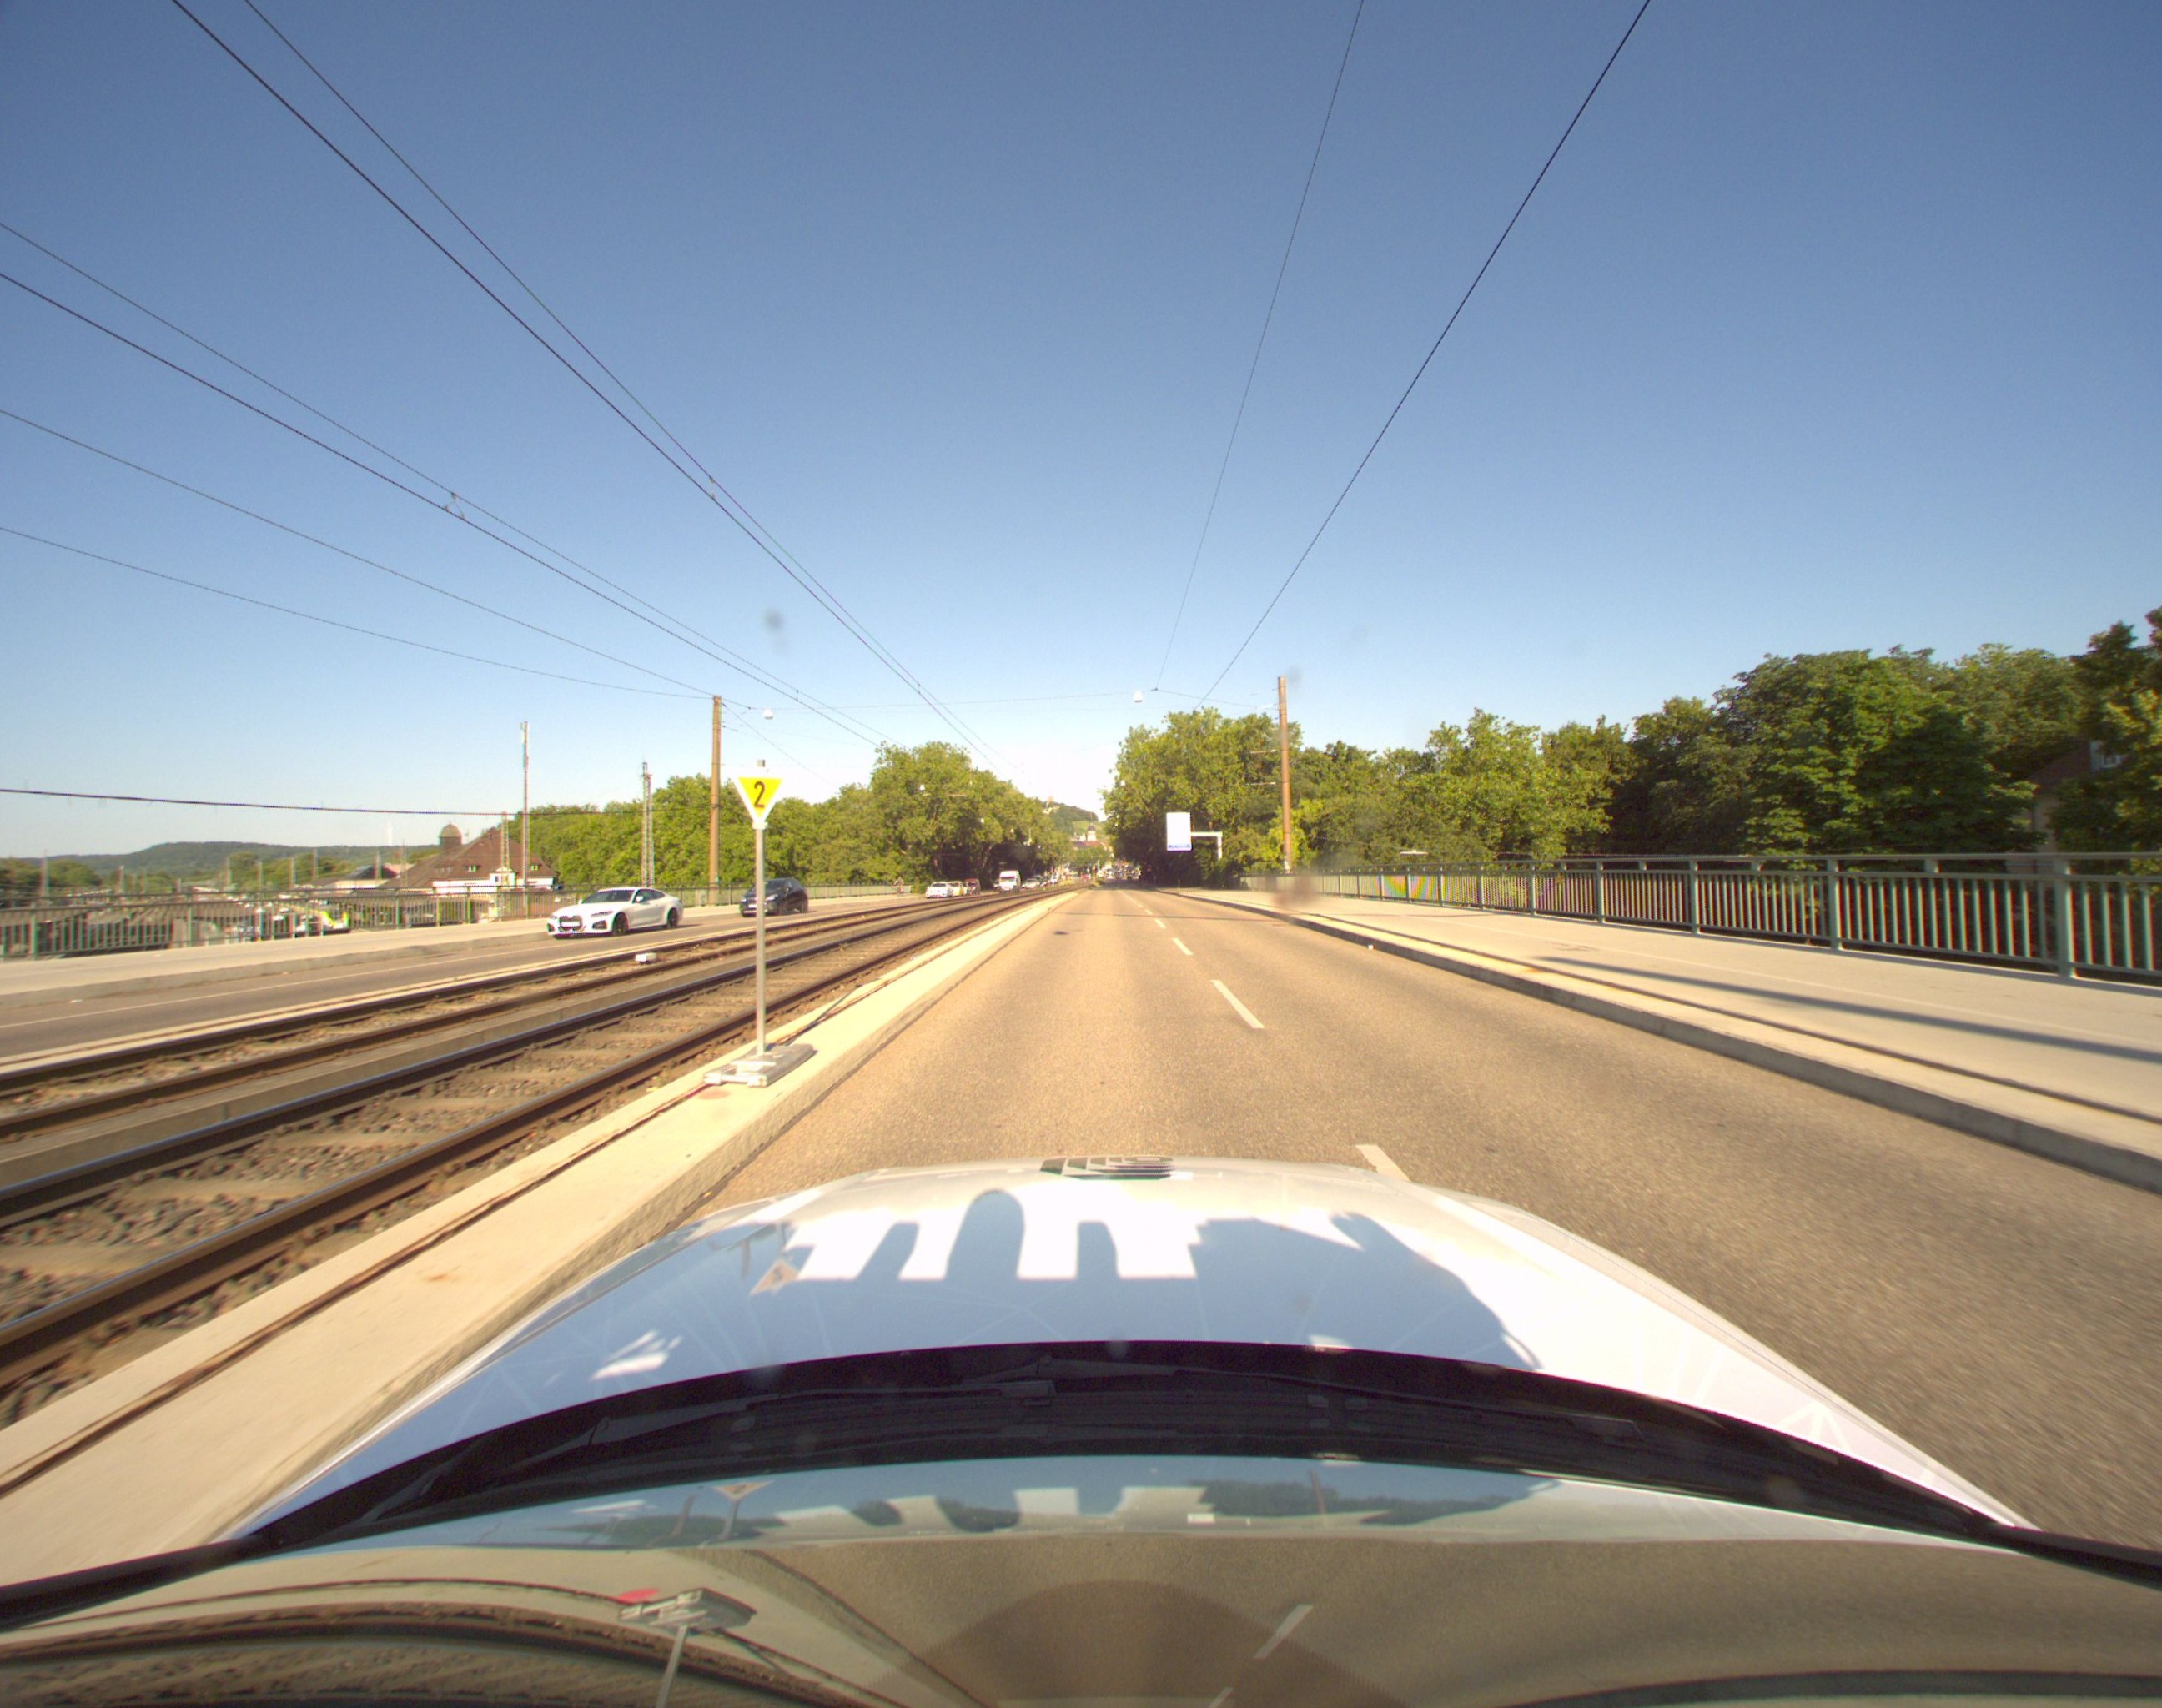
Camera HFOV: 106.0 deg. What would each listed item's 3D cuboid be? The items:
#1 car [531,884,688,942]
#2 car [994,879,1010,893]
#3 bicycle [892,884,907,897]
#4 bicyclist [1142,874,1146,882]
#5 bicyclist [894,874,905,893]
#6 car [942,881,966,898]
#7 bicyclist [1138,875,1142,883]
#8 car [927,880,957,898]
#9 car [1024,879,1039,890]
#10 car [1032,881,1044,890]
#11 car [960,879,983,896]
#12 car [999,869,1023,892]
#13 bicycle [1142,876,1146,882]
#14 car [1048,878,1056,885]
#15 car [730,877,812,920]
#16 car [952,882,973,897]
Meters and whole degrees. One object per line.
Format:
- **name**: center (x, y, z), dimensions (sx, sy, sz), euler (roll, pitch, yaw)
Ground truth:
- **car**: center (-13.797, 1.664, 24.239), dimensions (1.678, 1.356, 4.922), euler (-1, 0, 1)
- **car**: center (-11.381, 4.587, 117.254), dimensions (1.736, 1.743, 4.512), euler (-5, -1, -1)
- **bicycle**: center (-15.557, 3.121, 69.845), dimensions (0.677, 1.098, 2.101), euler (1, -1, 2)
- **bicyclist**: center (14.294, 5.415, 184.503), dimensions (0.883, 1.638, 1.165), euler (-2, -2, 2)
- **bicyclist**: center (-15.554, 2.538, 69.809), dimensions (0.677, 1.627, 0.890), euler (1, -2, 2)
- **car**: center (-12.182, 3.436, 78.396), dimensions (1.627, 1.531, 3.791), euler (-2, -1, 1)
- **bicyclist**: center (13.937, 5.930, 193.097), dimensions (0.884, 1.775, 1.221), euler (-2, -2, -1)
- **car**: center (-12.342, 3.124, 72.378), dimensions (1.736, 1.464, 4.955), euler (-1, -1, 1)
- **car**: center (-7.809, 4.836, 129.434), dimensions (1.866, 1.665, 4.599), euler (-3, -2, 2)
- **car**: center (-8.022, 5.858, 151.733), dimensions (1.987, 1.697, 4.744), euler (-2, -2, 0)
- **car**: center (-11.919, 3.630, 89.154), dimensions (1.735, 1.754, 4.684), euler (-1, -1, 1)
- **car**: center (-8.278, 3.083, 96.482), dimensions (2.078, 2.593, 6.043), euler (-1, -1, 2)
- **bicycle**: center (14.291, 5.679, 184.289), dimensions (0.883, 1.321, 2.640), euler (-2, -2, 2)
- **car**: center (-7.733, 7.257, 215.995), dimensions (1.987, 1.844, 5.299), euler (-2, -1, -1)
- **car**: center (-13.538, 1.899, 35.868), dimensions (1.773, 1.650, 4.448), euler (-1, 0, 1)
- **car**: center (-12.144, 3.642, 83.772), dimensions (1.628, 1.451, 4.000), euler (-1, -1, -1)
